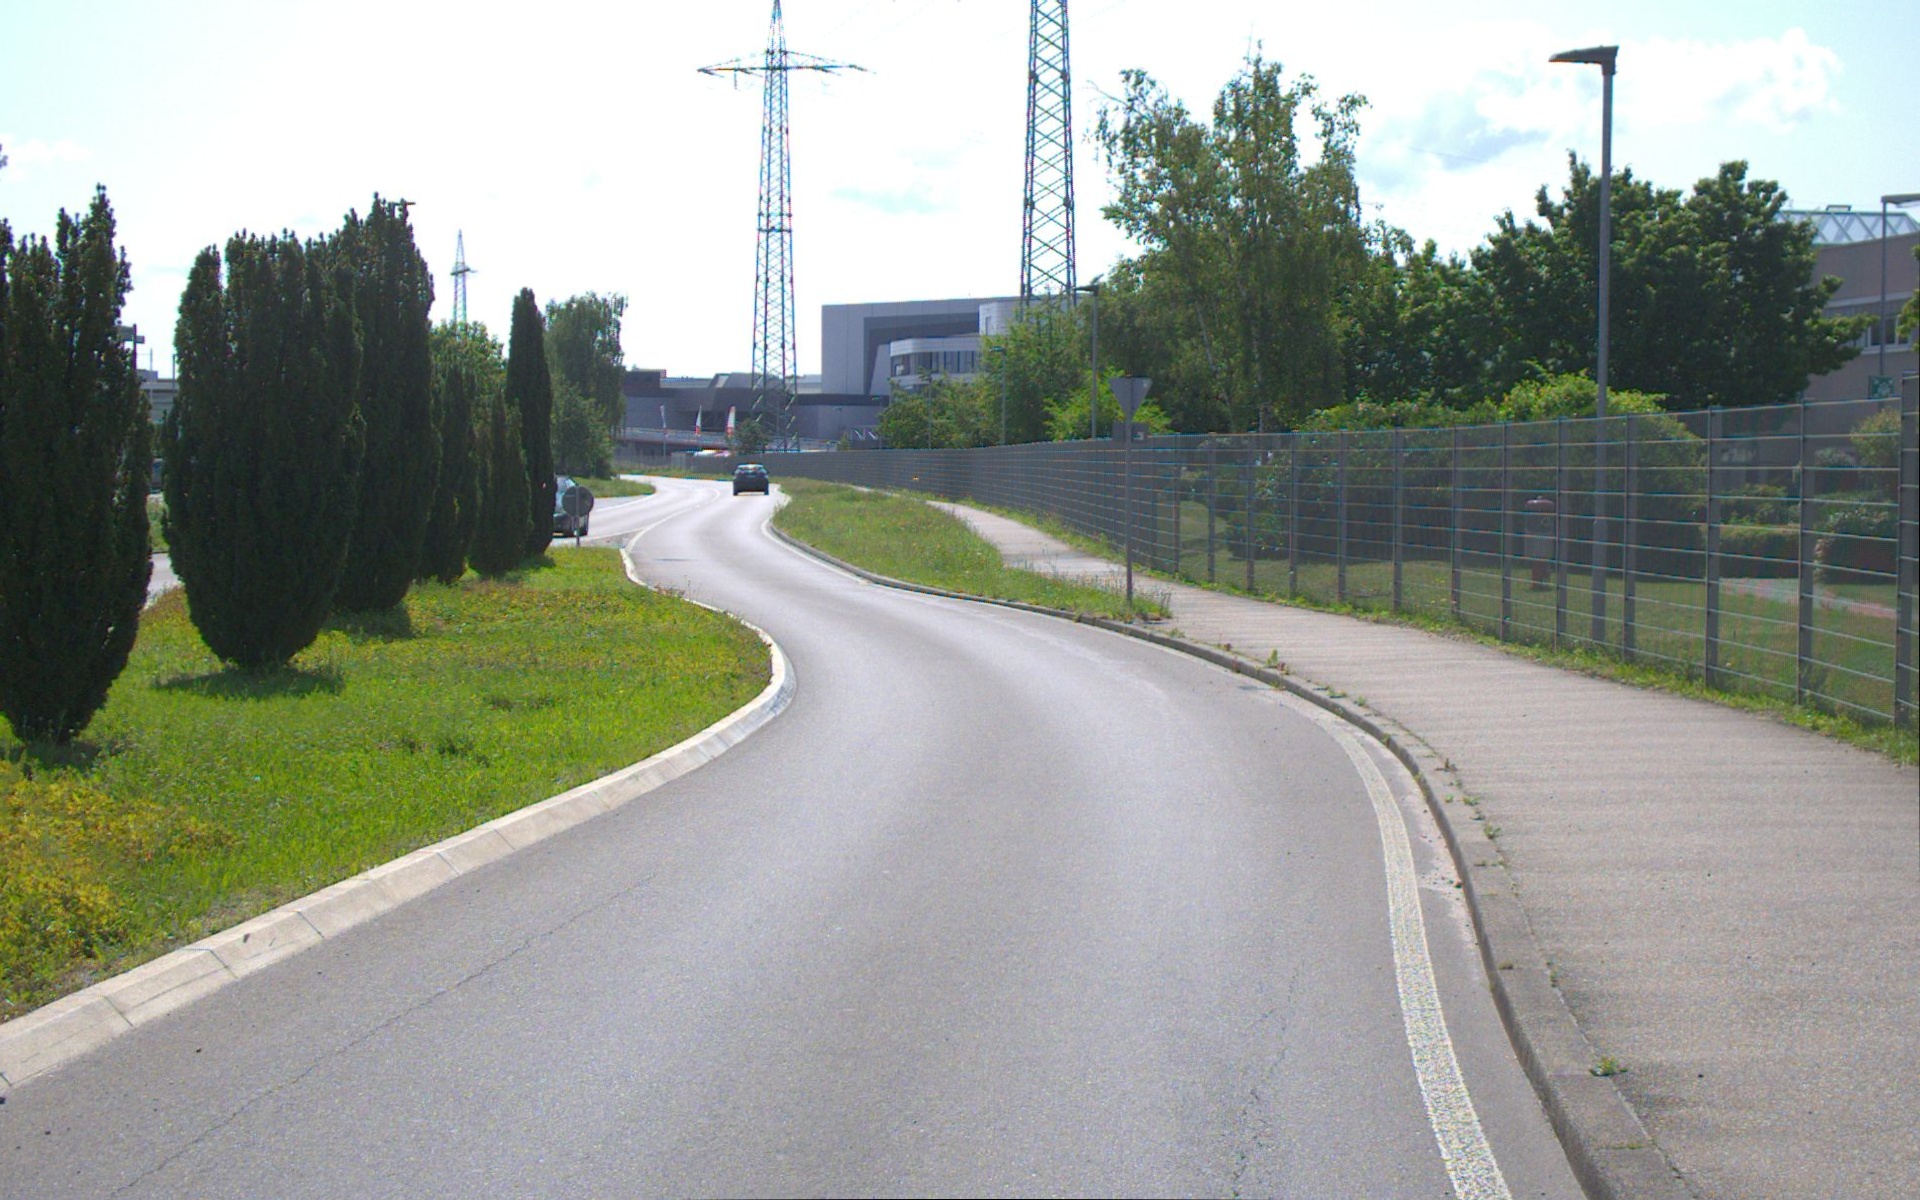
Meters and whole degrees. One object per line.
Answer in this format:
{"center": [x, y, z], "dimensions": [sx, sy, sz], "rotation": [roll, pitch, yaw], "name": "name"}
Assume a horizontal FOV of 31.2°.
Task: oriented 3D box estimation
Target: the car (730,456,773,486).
{"center": [-10.536, -6.514, 173.808], "dimensions": [2.011, 1.503, 4.001], "rotation": [0, 2, -5], "name": "car"}

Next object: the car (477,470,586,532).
{"center": [-10.037, -2.351, 80.806], "dimensions": [1.899, 1.389, 4.866], "rotation": [1, 2, 1], "name": "car"}
